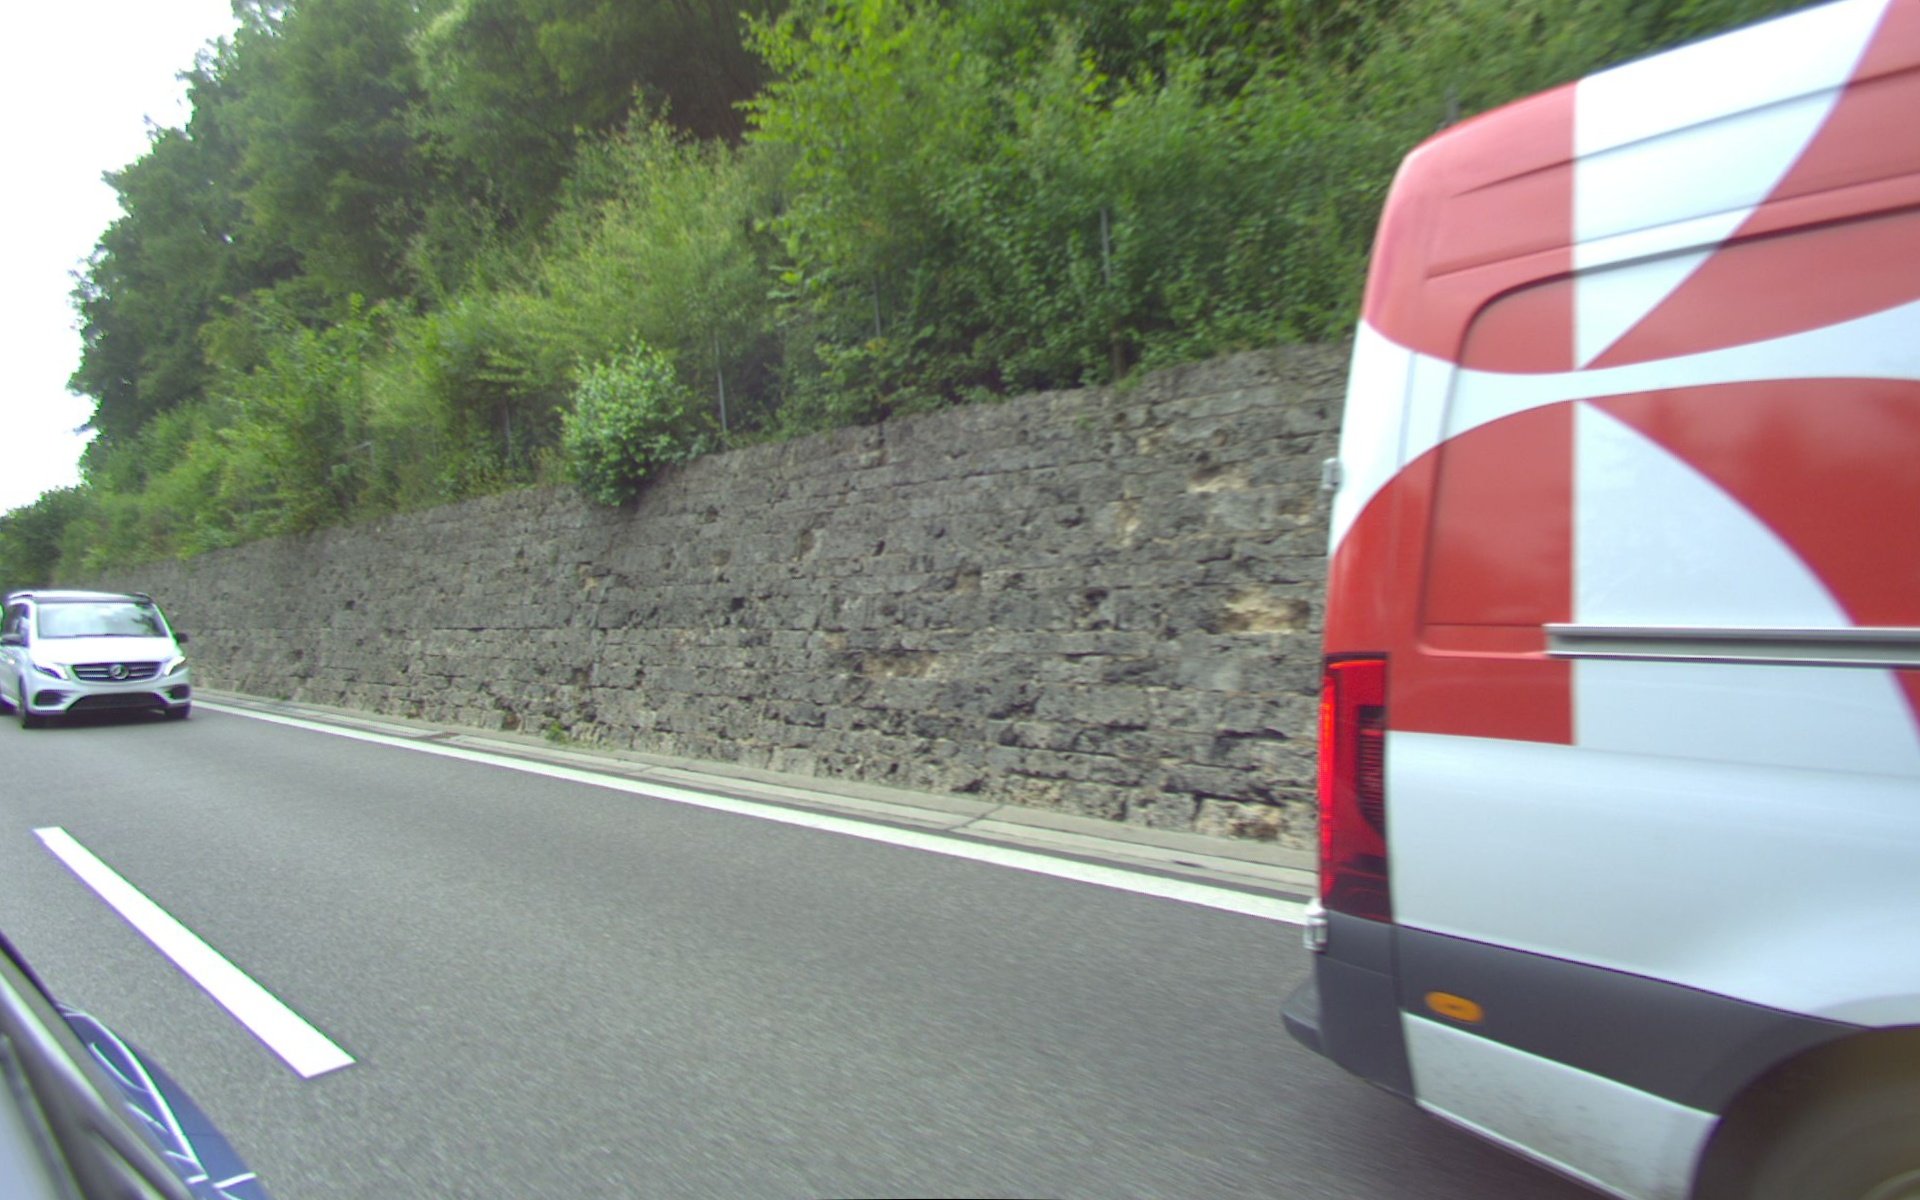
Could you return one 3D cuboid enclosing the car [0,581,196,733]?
[{"bbox_3d":[-13.986,0.793,16.043,6.148,1.967,1.972,-2,0,43],"label":"car"}]

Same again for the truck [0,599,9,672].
[{"bbox_3d":[-33.038,1.194,33.282,6.583,2.297,1.972,-2,0,42],"label":"truck"}]

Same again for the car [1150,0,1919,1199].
[{"bbox_3d":[3.468,0.055,1.093,6.271,2.605,2.005,-1,-1,41],"label":"car"}]
